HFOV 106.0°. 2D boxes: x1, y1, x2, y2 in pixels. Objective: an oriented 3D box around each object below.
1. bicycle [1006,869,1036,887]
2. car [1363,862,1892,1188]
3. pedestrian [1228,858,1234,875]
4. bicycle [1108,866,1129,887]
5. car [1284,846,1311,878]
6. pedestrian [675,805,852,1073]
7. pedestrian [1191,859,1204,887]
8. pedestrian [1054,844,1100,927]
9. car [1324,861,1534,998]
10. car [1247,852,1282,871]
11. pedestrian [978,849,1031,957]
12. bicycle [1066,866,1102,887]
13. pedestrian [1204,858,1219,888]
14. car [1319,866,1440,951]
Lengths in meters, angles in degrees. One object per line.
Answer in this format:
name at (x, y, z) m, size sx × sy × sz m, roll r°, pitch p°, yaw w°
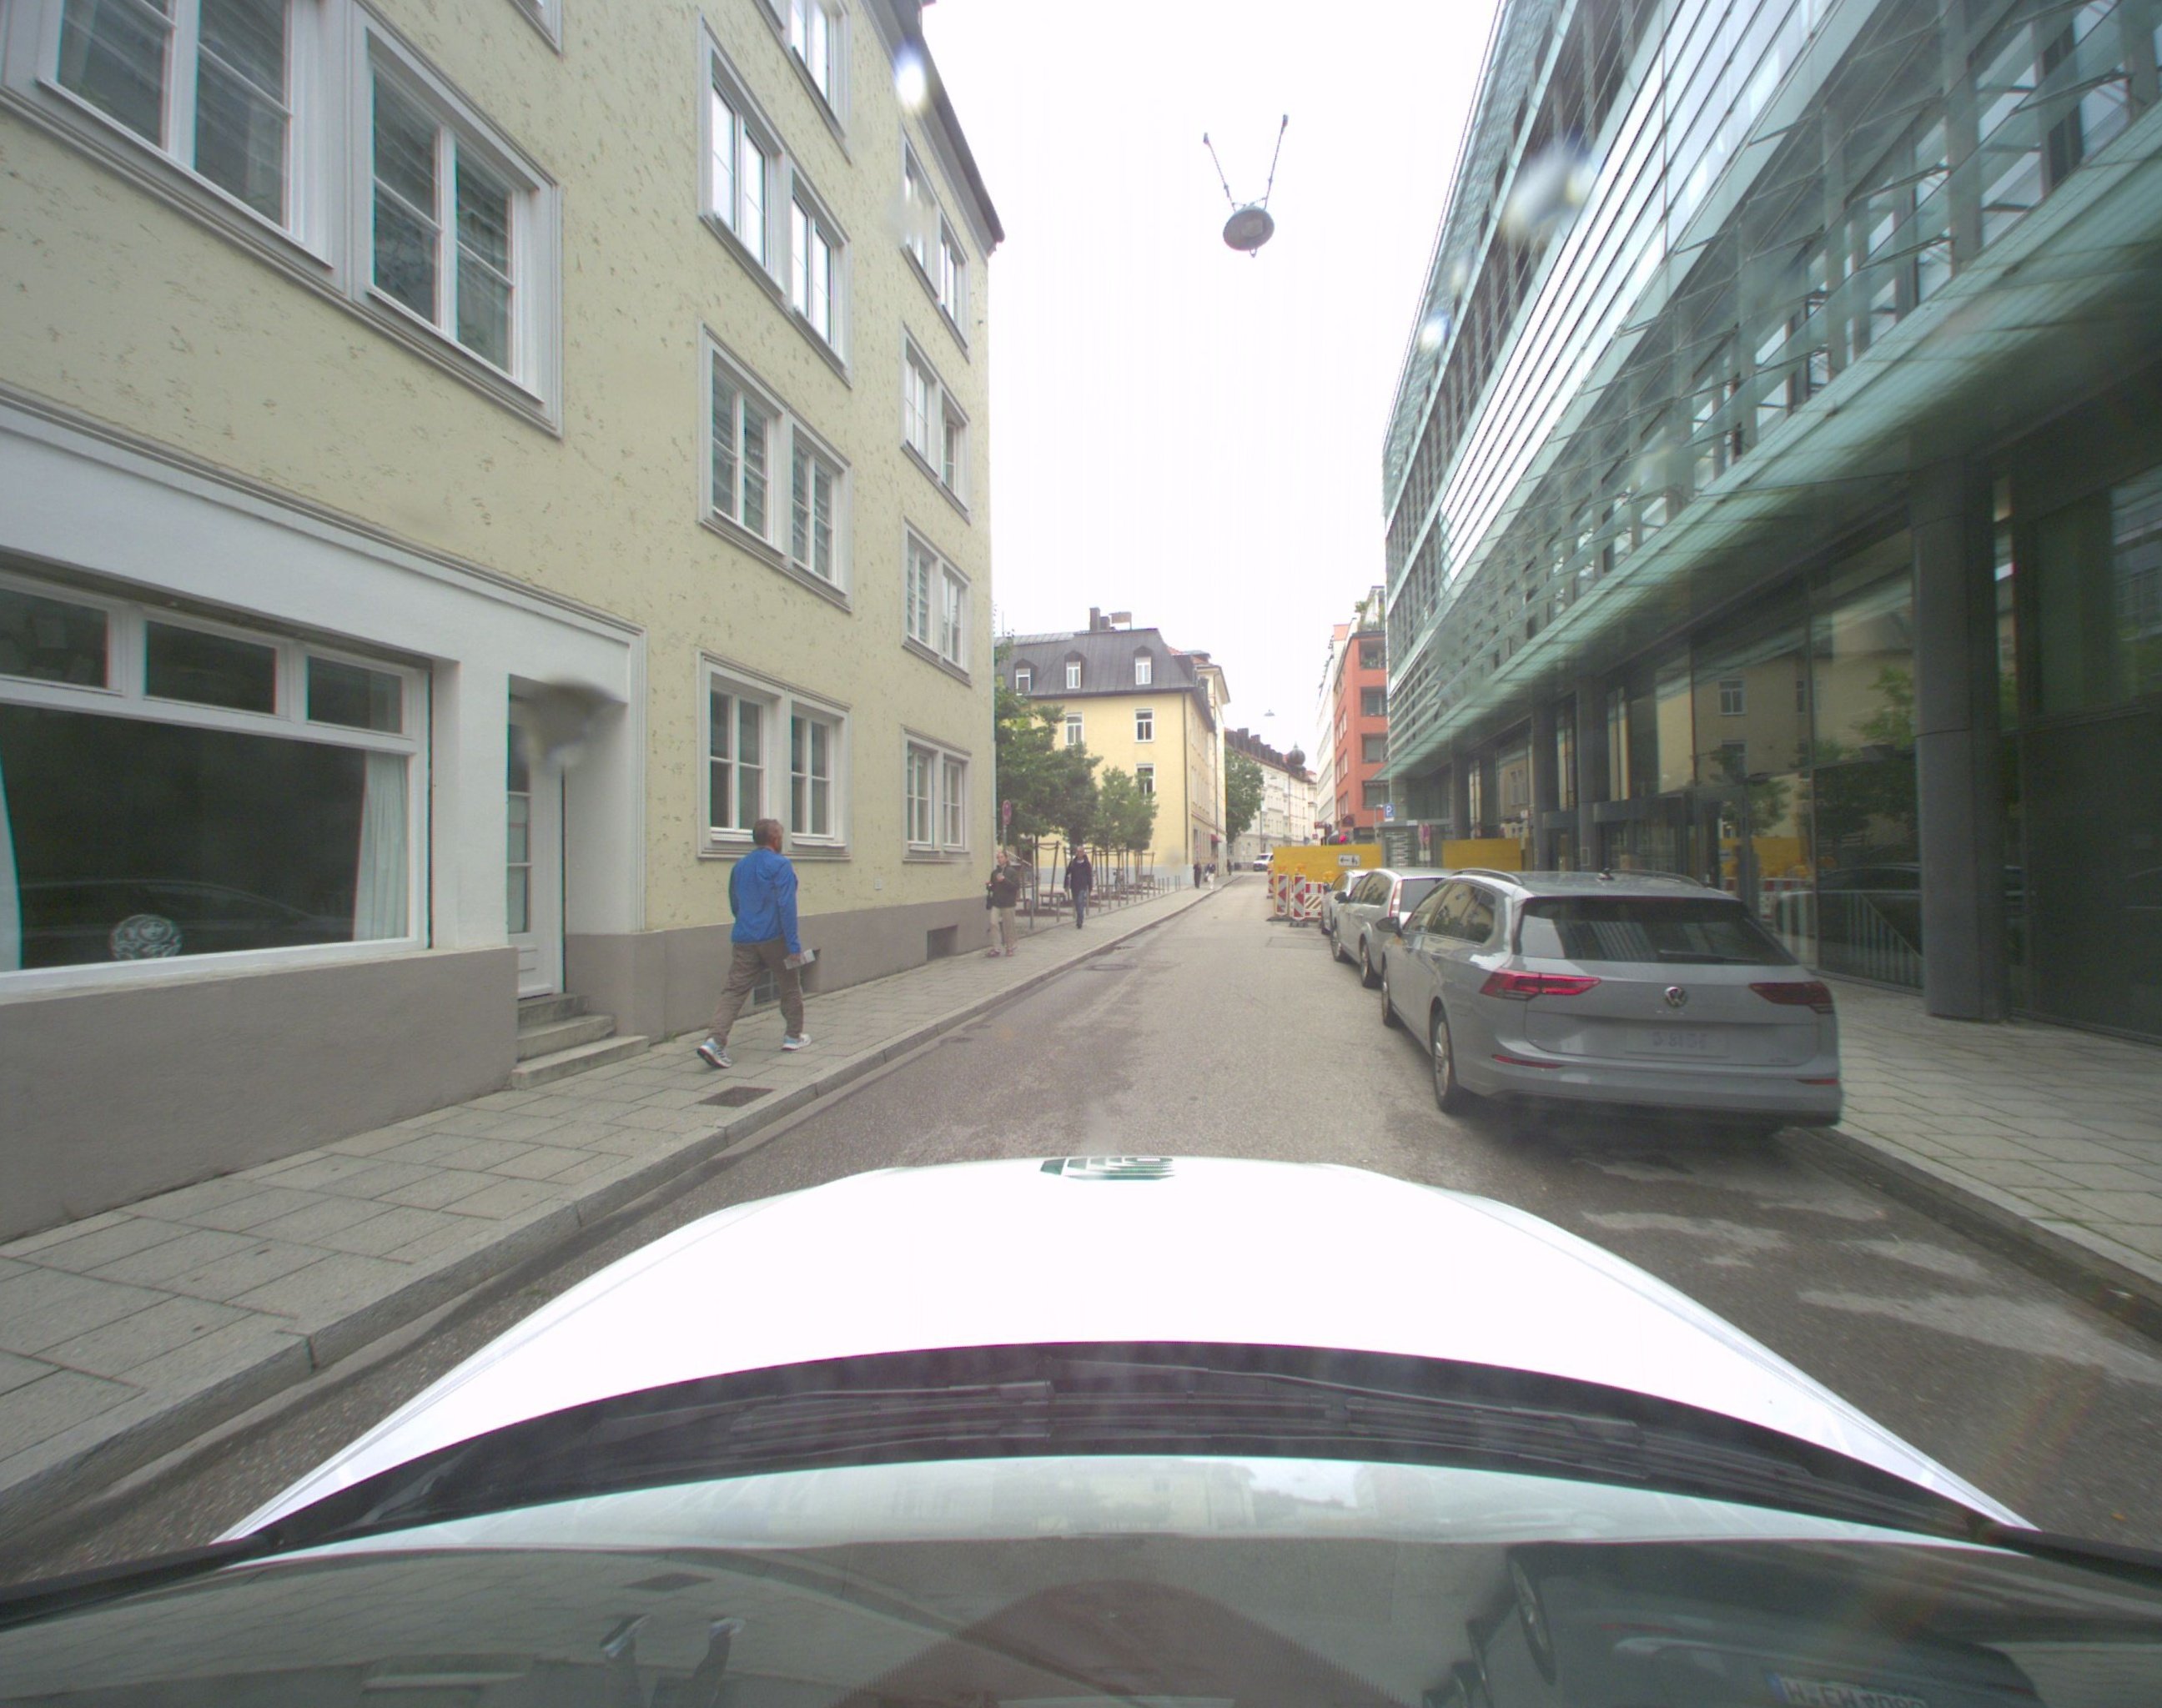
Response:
bicycle at (-3.517, 1.405, 47.724) m, size 1.643 × 1.069 × 0.600 m, roll 0°, pitch -1°, yaw 17°
car at (3.201, 0.791, 5.887) m, size 1.696 × 1.432 × 4.344 m, roll -1°, pitch -1°, yaw 13°
pedestrian at (14.774, 1.227, 80.141) m, size 0.513 × 1.675 × 0.637 m, roll 0°, pitch -1°, yaw 4°
bicycle at (2.087, 1.237, 44.916) m, size 0.505 × 1.144 × 2.063 m, roll 0°, pitch -1°, yaw 21°
car at (17.768, 0.636, 66.987) m, size 1.980 × 2.537 × 4.992 m, roll 0°, pitch -1°, yaw 12°
pedestrian at (-2.384, 0.589, 6.242) m, size 0.751 × 1.854 × 1.081 m, roll 0°, pitch -1°, yaw 13°
pedestrian at (6.773, 1.101, 47.335) m, size 0.665 × 1.648 × 0.764 m, roll 0°, pitch -1°, yaw 12°
pedestrian at (-0.081, 0.725, 19.134) m, size 0.862 × 1.881 × 1.138 m, roll 0°, pitch -1°, yaw 12°
car at (4.434, 0.849, 11.055) m, size 1.697 × 1.467 × 4.248 m, roll 1°, pitch -1°, yaw 10°
car at (22.795, 0.933, 101.136) m, size 1.975 × 2.398 × 5.023 m, roll -1°, pitch -1°, yaw 44°
pedestrian at (-1.218, 0.762, 13.088) m, size 0.643 × 1.676 × 0.726 m, roll 0°, pitch -1°, yaw 12°
bicycle at (0.176, 1.294, 47.176) m, size 2.026 × 1.198 × 0.573 m, roll 0°, pitch -1°, yaw 20°
pedestrian at (7.531, 1.099, 47.005) m, size 0.833 × 1.700 × 0.805 m, roll 0°, pitch -1°, yaw 12°
car at (5.712, 0.954, 16.074) m, size 1.696 × 1.414 × 4.525 m, roll 1°, pitch -1°, yaw 13°
